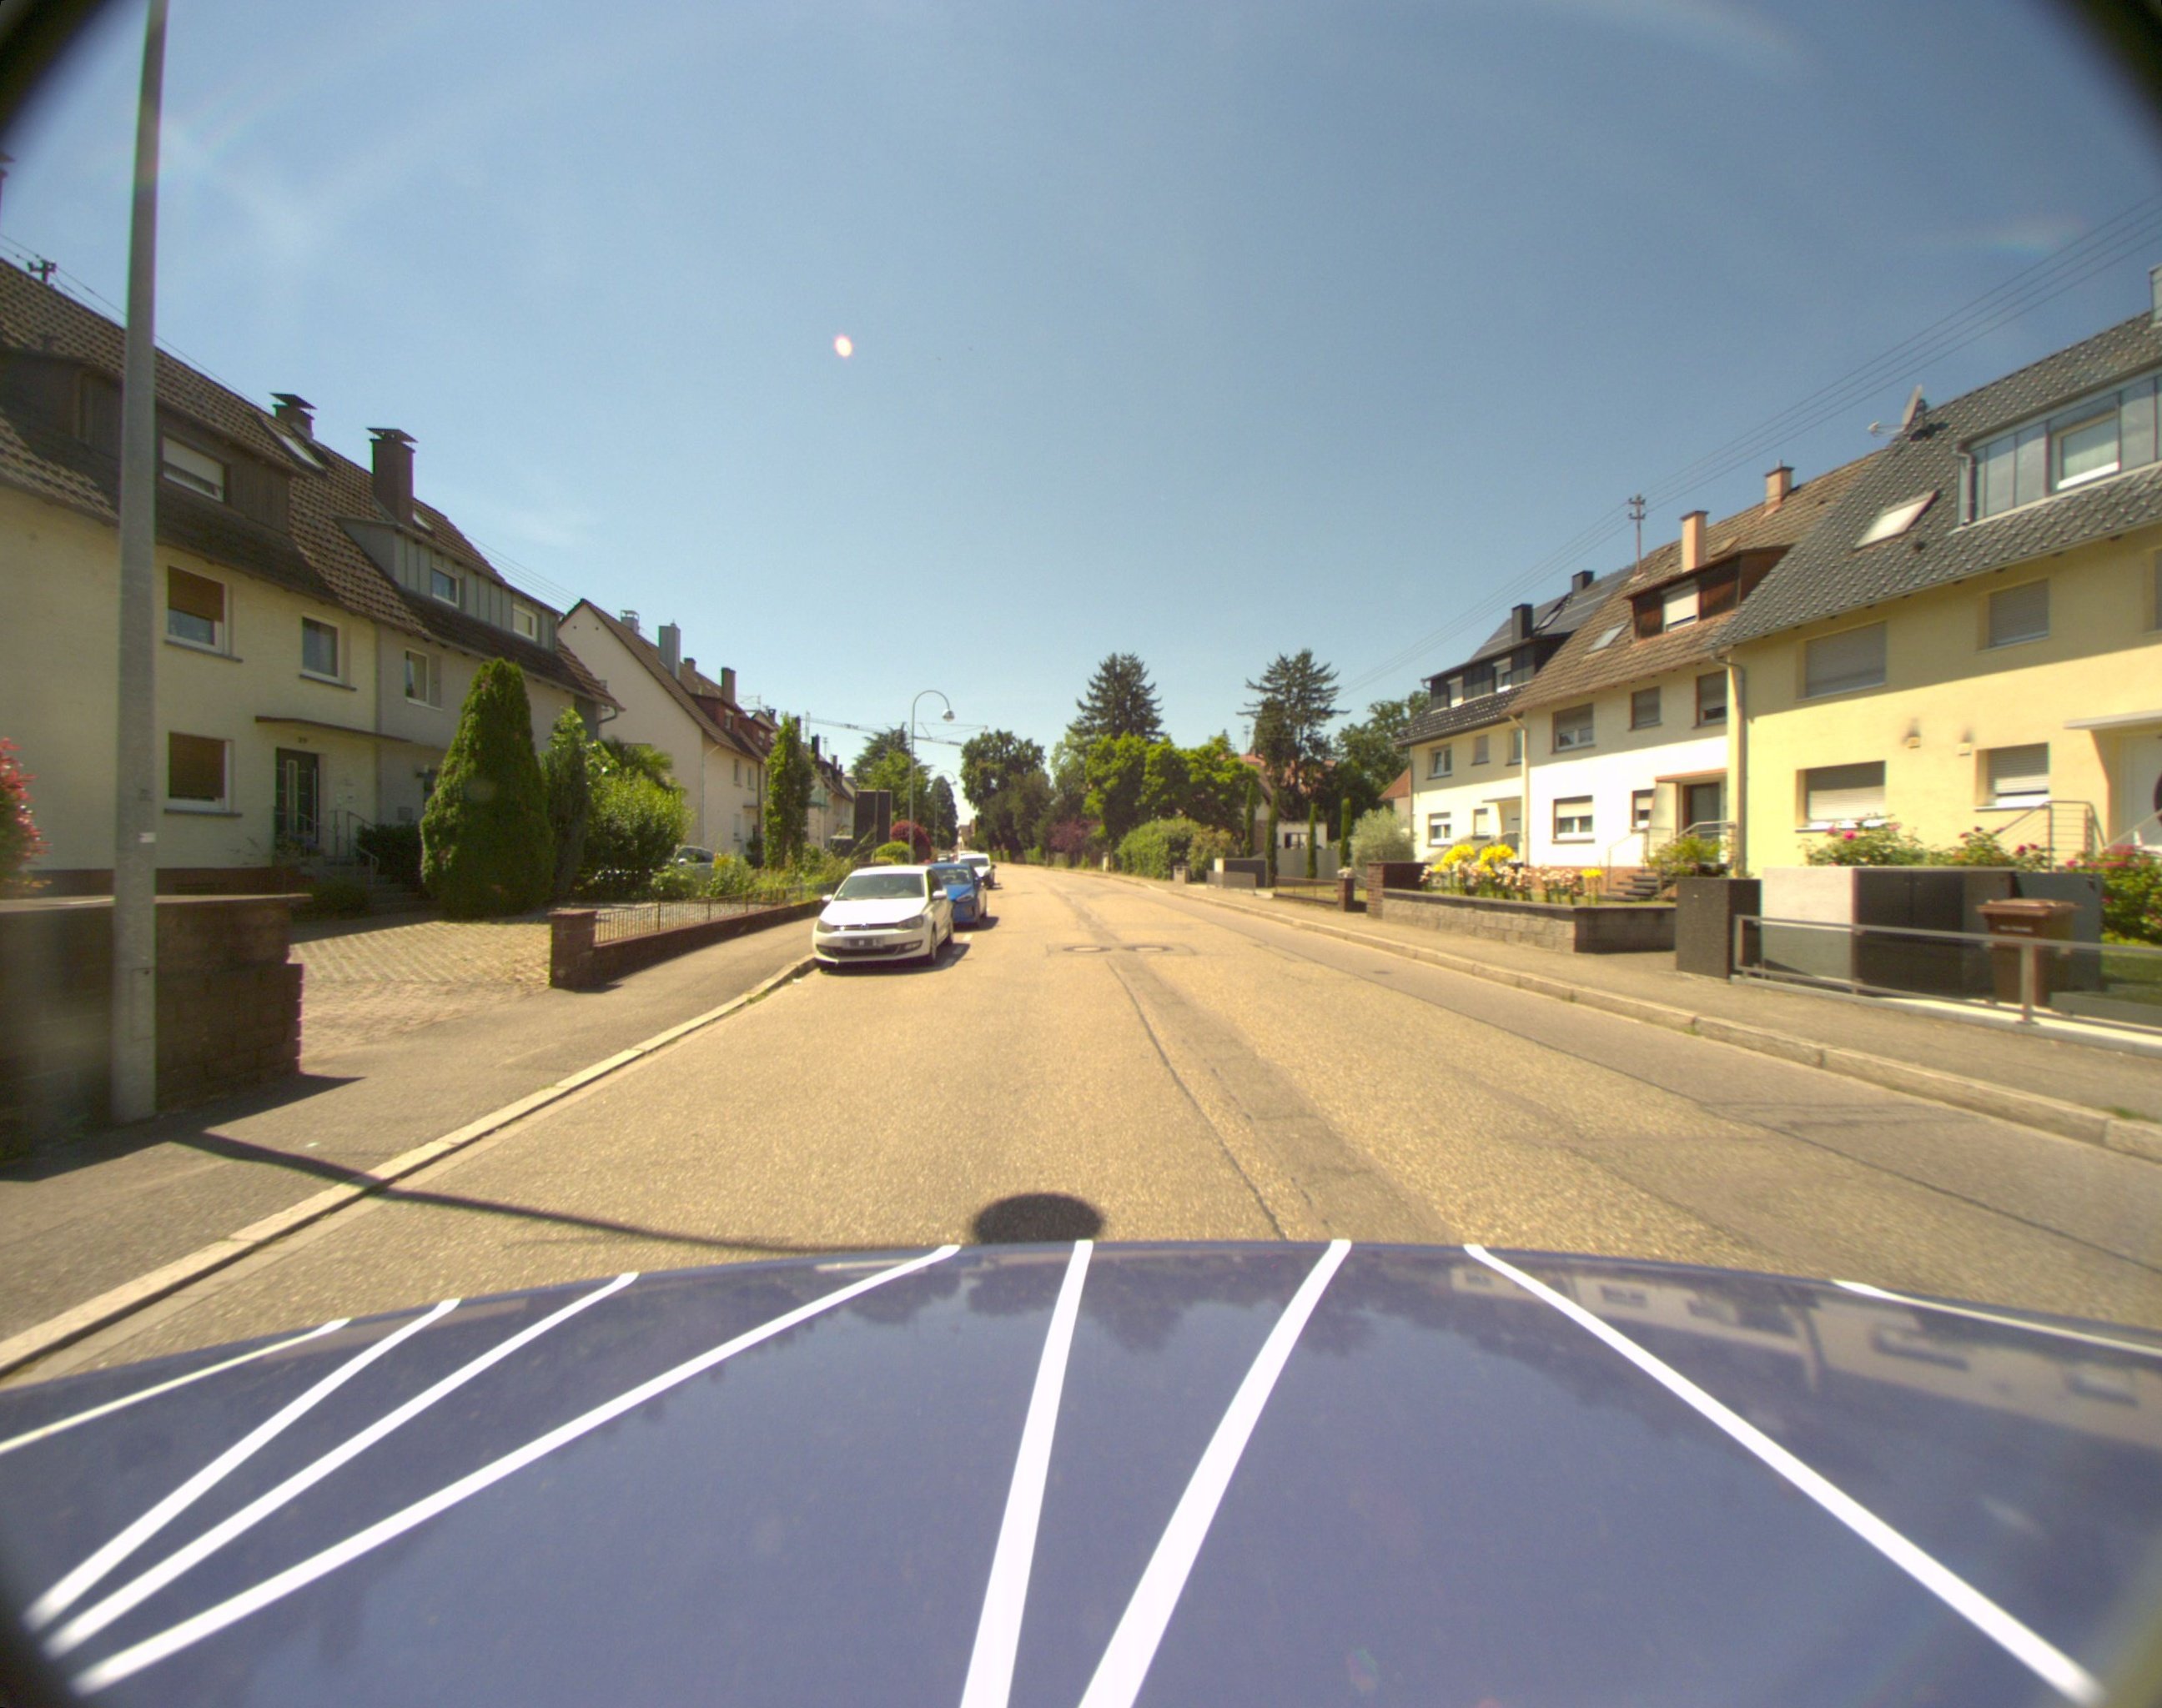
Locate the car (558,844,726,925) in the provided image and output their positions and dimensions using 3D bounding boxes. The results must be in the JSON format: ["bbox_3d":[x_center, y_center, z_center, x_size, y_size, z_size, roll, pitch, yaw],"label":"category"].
[{"bbox_3d":[-11.106,0.687,19.681,1.922,1.839,4.528,0,1,-4],"label":"car"}]

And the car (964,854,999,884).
[{"bbox_3d":[-5.485,0.791,42.256,1.689,1.488,3.938,-1,1,-4],"label":"car"}]

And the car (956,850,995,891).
[{"bbox_3d":[-5.118,0.760,37.186,1.689,1.769,3.937,-3,1,-7],"label":"car"}]

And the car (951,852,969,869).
[{"bbox_3d":[-13.015,0.662,81.653,1.689,1.769,3.937,-2,1,-6],"label":"car"}]

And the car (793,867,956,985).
[{"bbox_3d":[-3.034,0.988,11.939,1.689,1.446,3.738,-1,0,-3],"label":"car"}]

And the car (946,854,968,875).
[{"bbox_3d":[-11.135,0.946,68.515,1.689,1.769,3.937,-2,1,-6],"label":"car"}]

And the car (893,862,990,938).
[{"bbox_3d":[-3.153,0.971,17.973,1.689,1.445,4.360,-1,1,-3],"label":"car"}]
